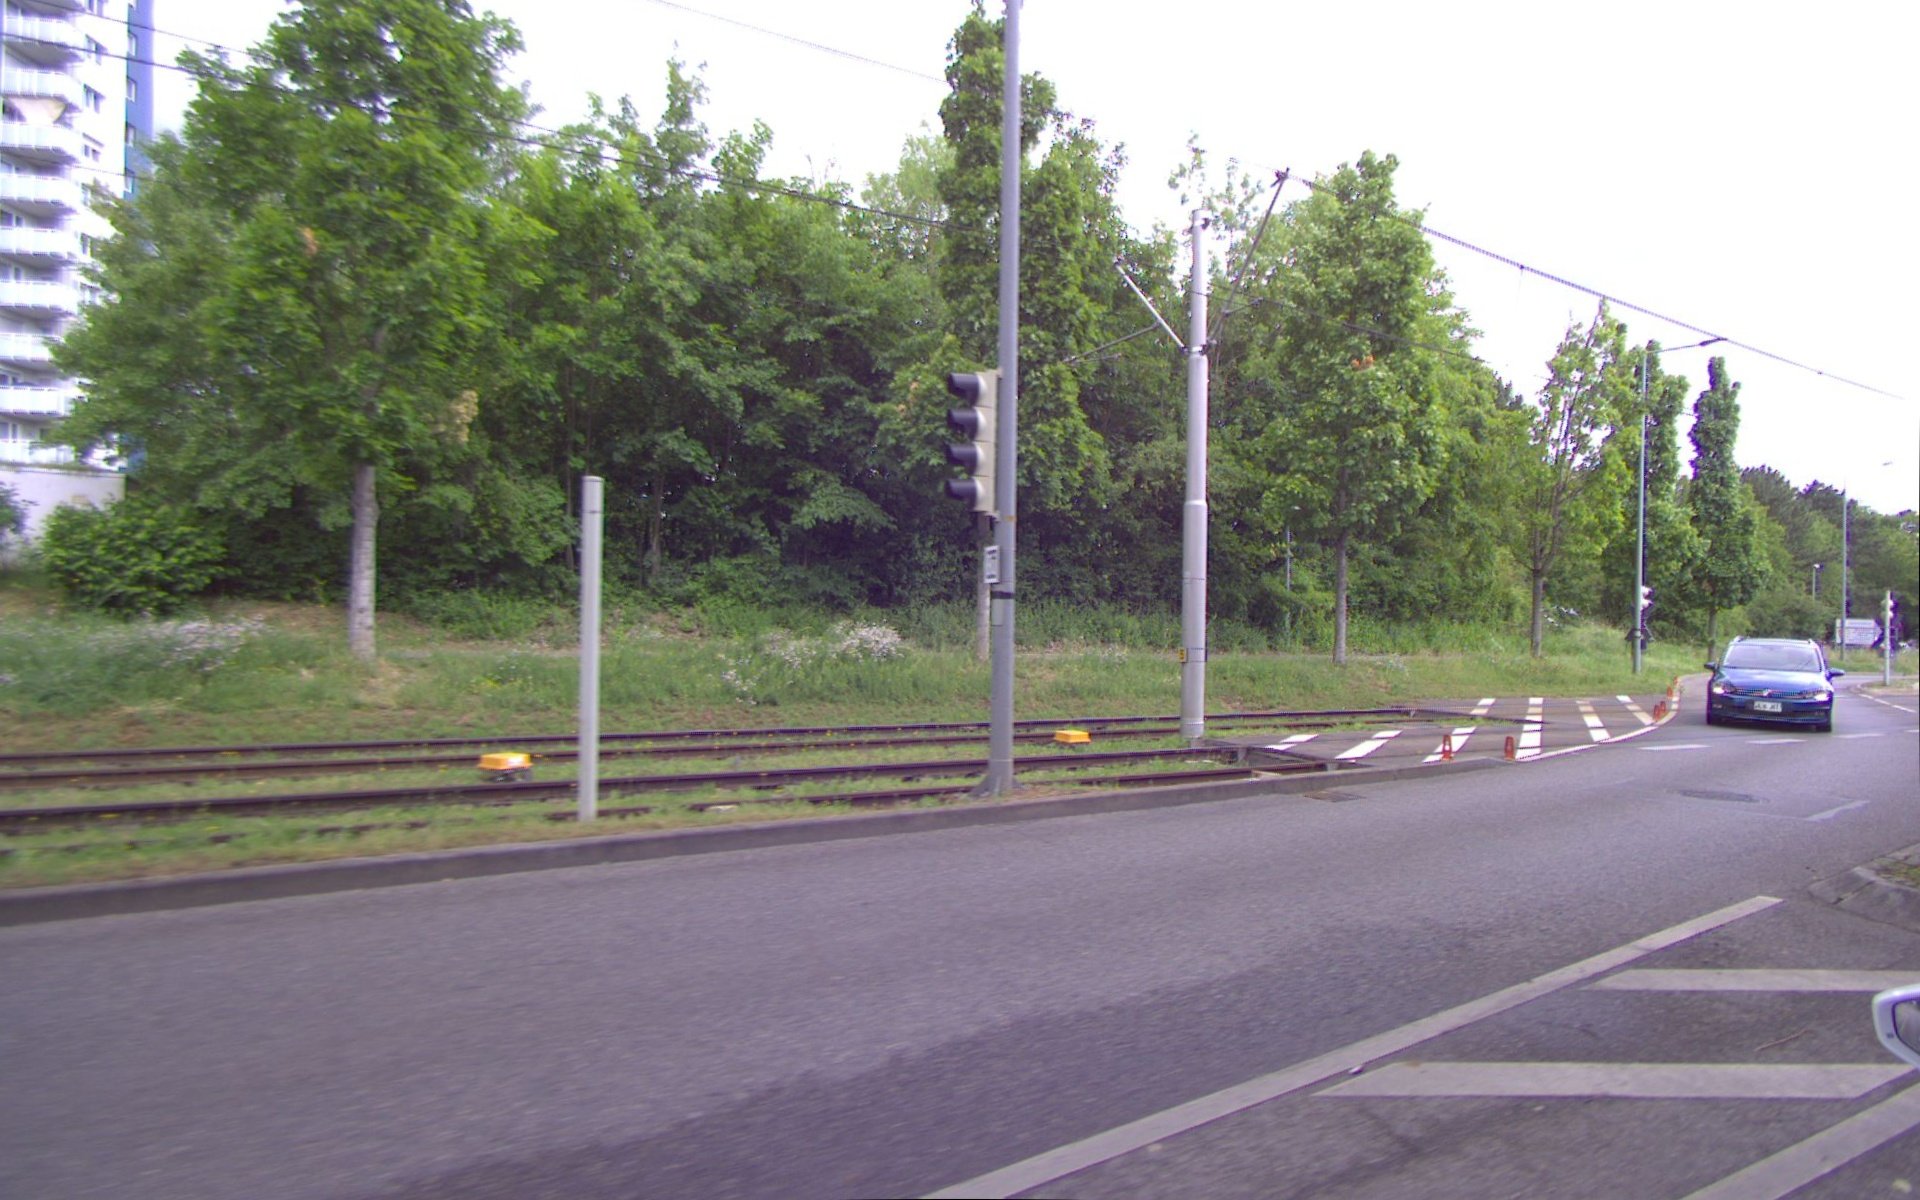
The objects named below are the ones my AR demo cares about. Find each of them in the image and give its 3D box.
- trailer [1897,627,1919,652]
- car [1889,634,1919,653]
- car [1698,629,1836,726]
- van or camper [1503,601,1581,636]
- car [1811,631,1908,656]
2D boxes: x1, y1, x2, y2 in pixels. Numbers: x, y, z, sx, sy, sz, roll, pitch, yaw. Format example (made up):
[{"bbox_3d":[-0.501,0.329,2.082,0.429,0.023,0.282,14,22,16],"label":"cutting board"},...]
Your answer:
[{"bbox_3d":[78.986,3.249,81.444,1.885,2.040,3.968,2,-1,-30],"label":"trailer"},{"bbox_3d":[76.639,3.476,79.500,1.819,1.467,4.282,2,-3,-36],"label":"car"},{"bbox_3d":[15.298,1.372,19.166,1.844,1.541,4.221,1,0,38],"label":"car"},{"bbox_3d":[33.914,1.101,58.467,4.578,1.902,1.983,2,-1,-32],"label":"van or camper"},{"bbox_3d":[65.748,3.167,73.469,2.184,1.606,4.896,3,-1,-33],"label":"car"}]
